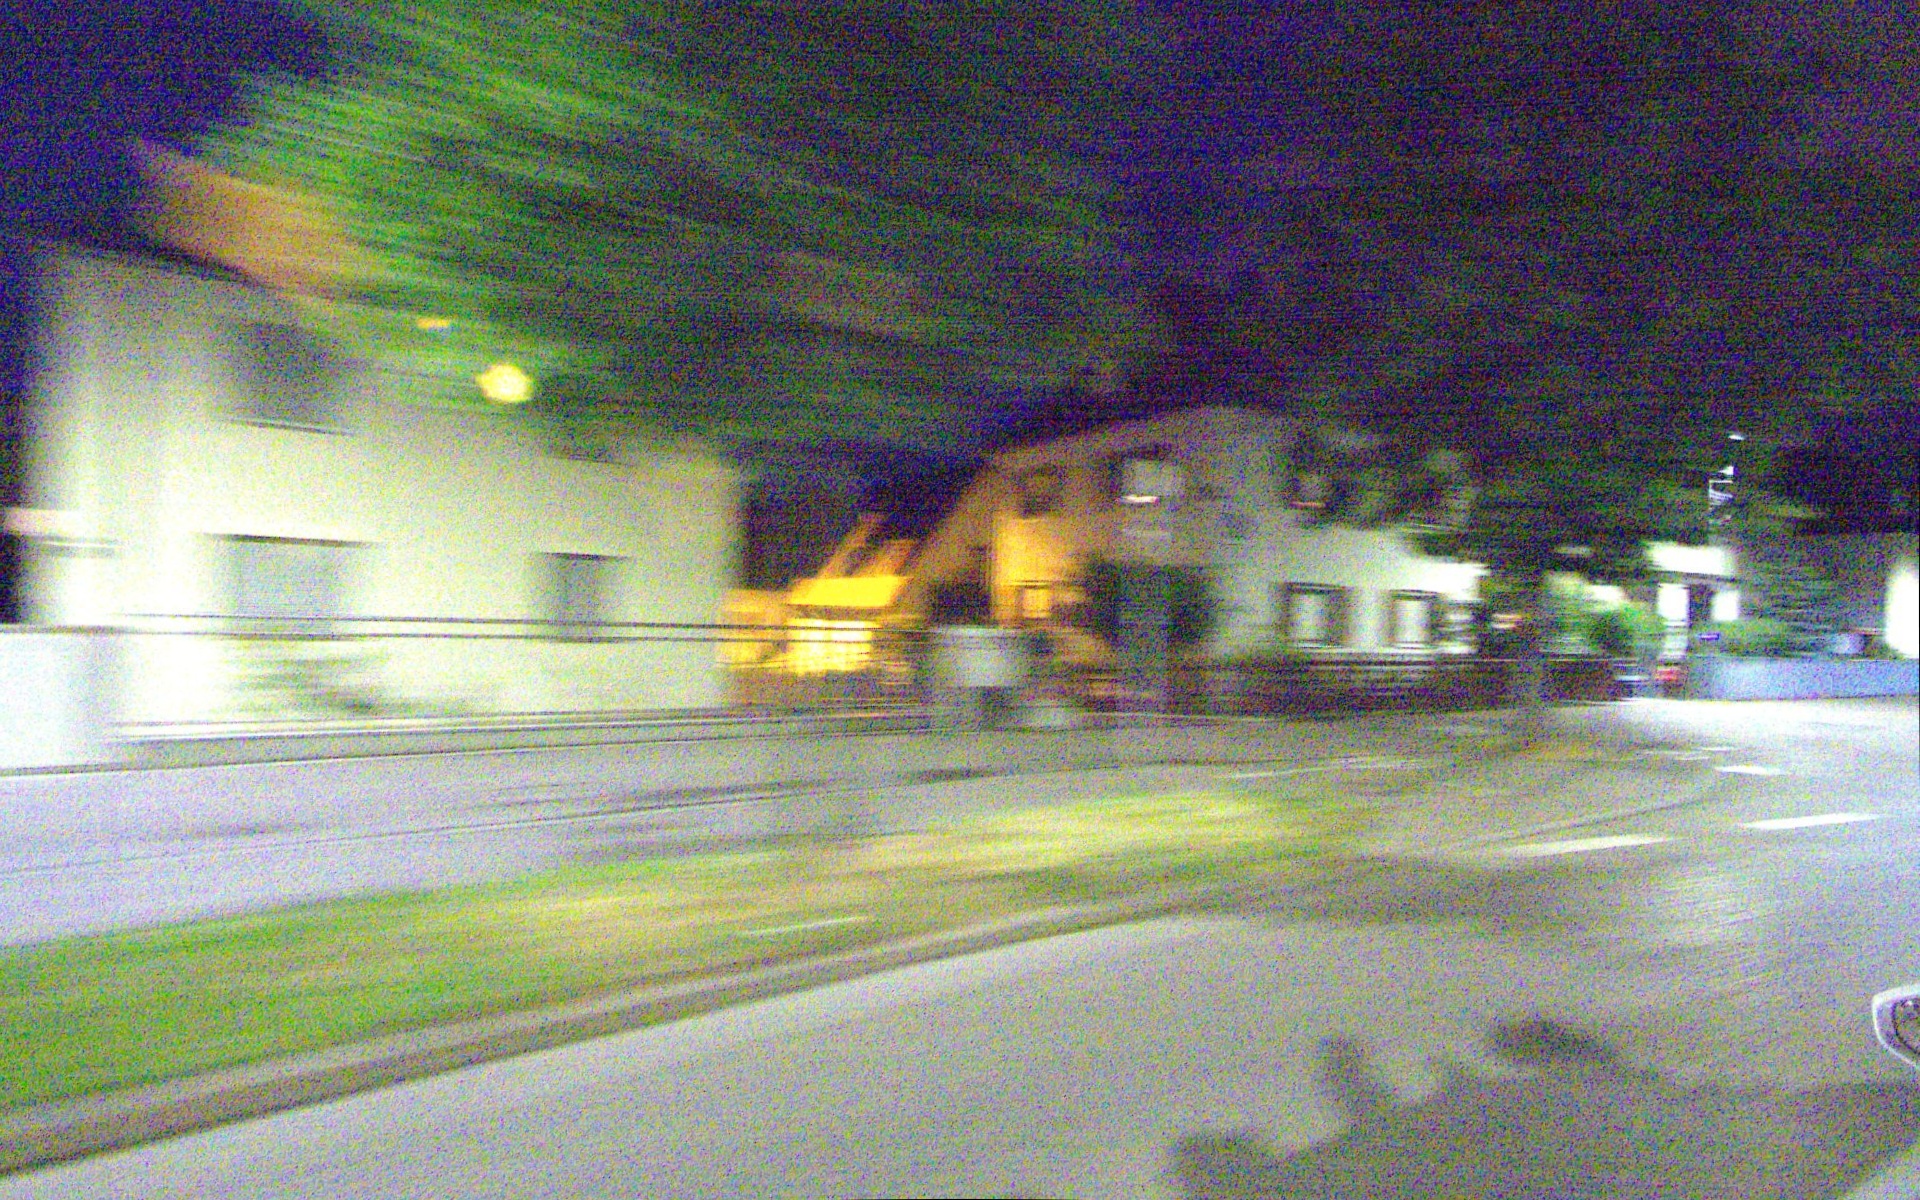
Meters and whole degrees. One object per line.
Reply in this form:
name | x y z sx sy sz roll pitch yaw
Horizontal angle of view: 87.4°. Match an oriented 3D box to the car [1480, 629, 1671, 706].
car | 14.724 1.576 24.264 1.754 1.648 3.713 2 -1 -16
